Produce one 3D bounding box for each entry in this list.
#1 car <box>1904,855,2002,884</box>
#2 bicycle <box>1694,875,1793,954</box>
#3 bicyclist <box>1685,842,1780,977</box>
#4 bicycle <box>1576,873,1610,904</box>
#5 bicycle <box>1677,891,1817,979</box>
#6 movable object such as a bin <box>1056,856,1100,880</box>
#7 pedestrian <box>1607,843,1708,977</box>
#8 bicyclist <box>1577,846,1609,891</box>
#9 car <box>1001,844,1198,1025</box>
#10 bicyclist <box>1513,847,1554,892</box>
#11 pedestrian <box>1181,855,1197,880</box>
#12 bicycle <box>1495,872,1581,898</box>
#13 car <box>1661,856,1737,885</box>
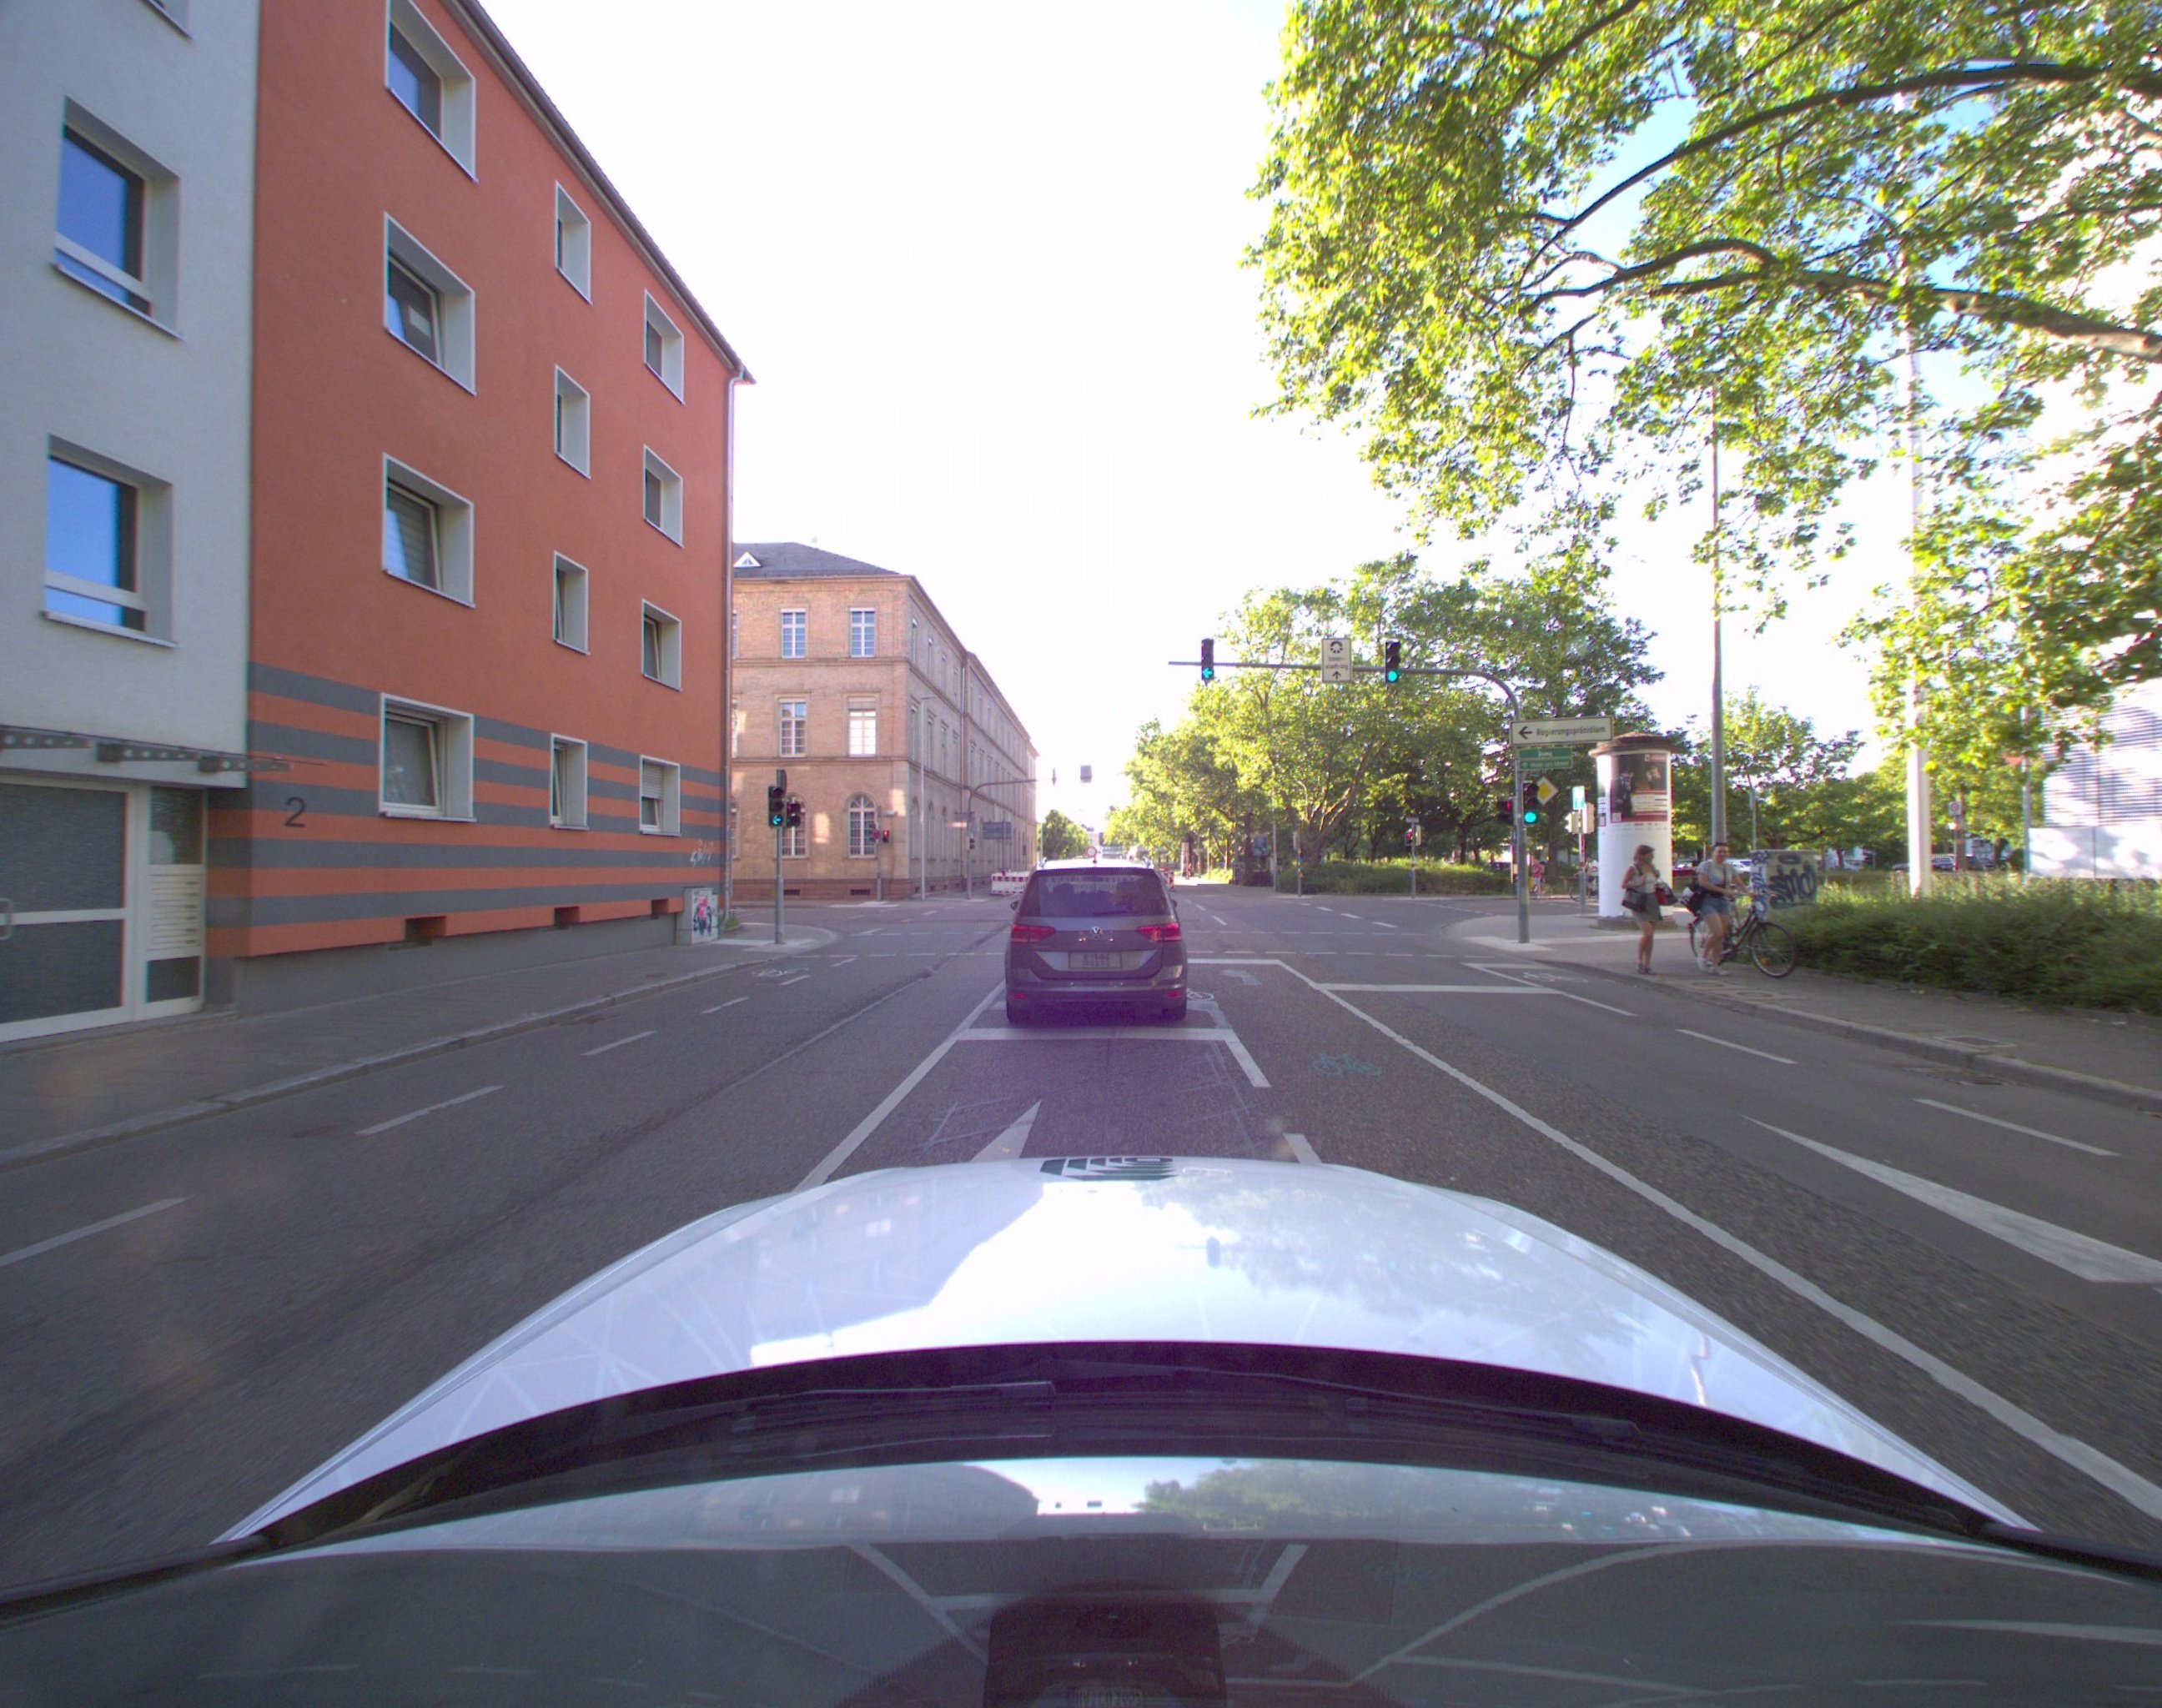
[{"bbox_3d":[55.077,0.974,51.533,1.986,1.779,4.002,0,-1,2],"label":"car"},{"bbox_3d":[10.703,0.948,13.138,1.998,1.182,0.466,0,-2,-28],"label":"bicycle"},{"bbox_3d":[8.537,0.719,10.705,0.630,1.714,0.655,-1,-3,1],"label":"bicyclist"},{"bbox_3d":[18.559,1.288,29.526,0.969,1.052,2.676,-2,-5,32],"label":"bicycle"},{"bbox_3d":[8.755,1.027,10.787,0.519,1.035,1.647,0,-1,1],"label":"bicycle"},{"bbox_3d":[-0.358,1.670,94.901,4.781,2.777,2.488,-1,-2,44],"label":"movable object such as a bin"},{"bbox_3d":[7.803,0.747,11.053,0.771,1.719,0.692,-2,-3,1],"label":"pedestrian"},{"bbox_3d":[18.532,0.510,29.480,0.941,1.545,1.133,-1,1,33],"label":"bicyclist"},{"bbox_3d":[0.144,0.742,9.299,1.757,1.607,3.998,0,-1,-1],"label":"car"},{"bbox_3d":[18.356,0.620,33.049,1.124,1.808,0.978,0,-1,0],"label":"bicyclist"},{"bbox_3d":[11.629,1.464,87.836,1.418,2.667,1.145,0,-1,-7],"label":"pedestrian"},{"bbox_3d":[18.526,1.253,33.055,2.988,1.038,0.942,0,-1,-2],"label":"bicycle"},{"bbox_3d":[40.145,1.085,53.047,1.986,1.779,4.002,0,-1,2],"label":"car"}]
